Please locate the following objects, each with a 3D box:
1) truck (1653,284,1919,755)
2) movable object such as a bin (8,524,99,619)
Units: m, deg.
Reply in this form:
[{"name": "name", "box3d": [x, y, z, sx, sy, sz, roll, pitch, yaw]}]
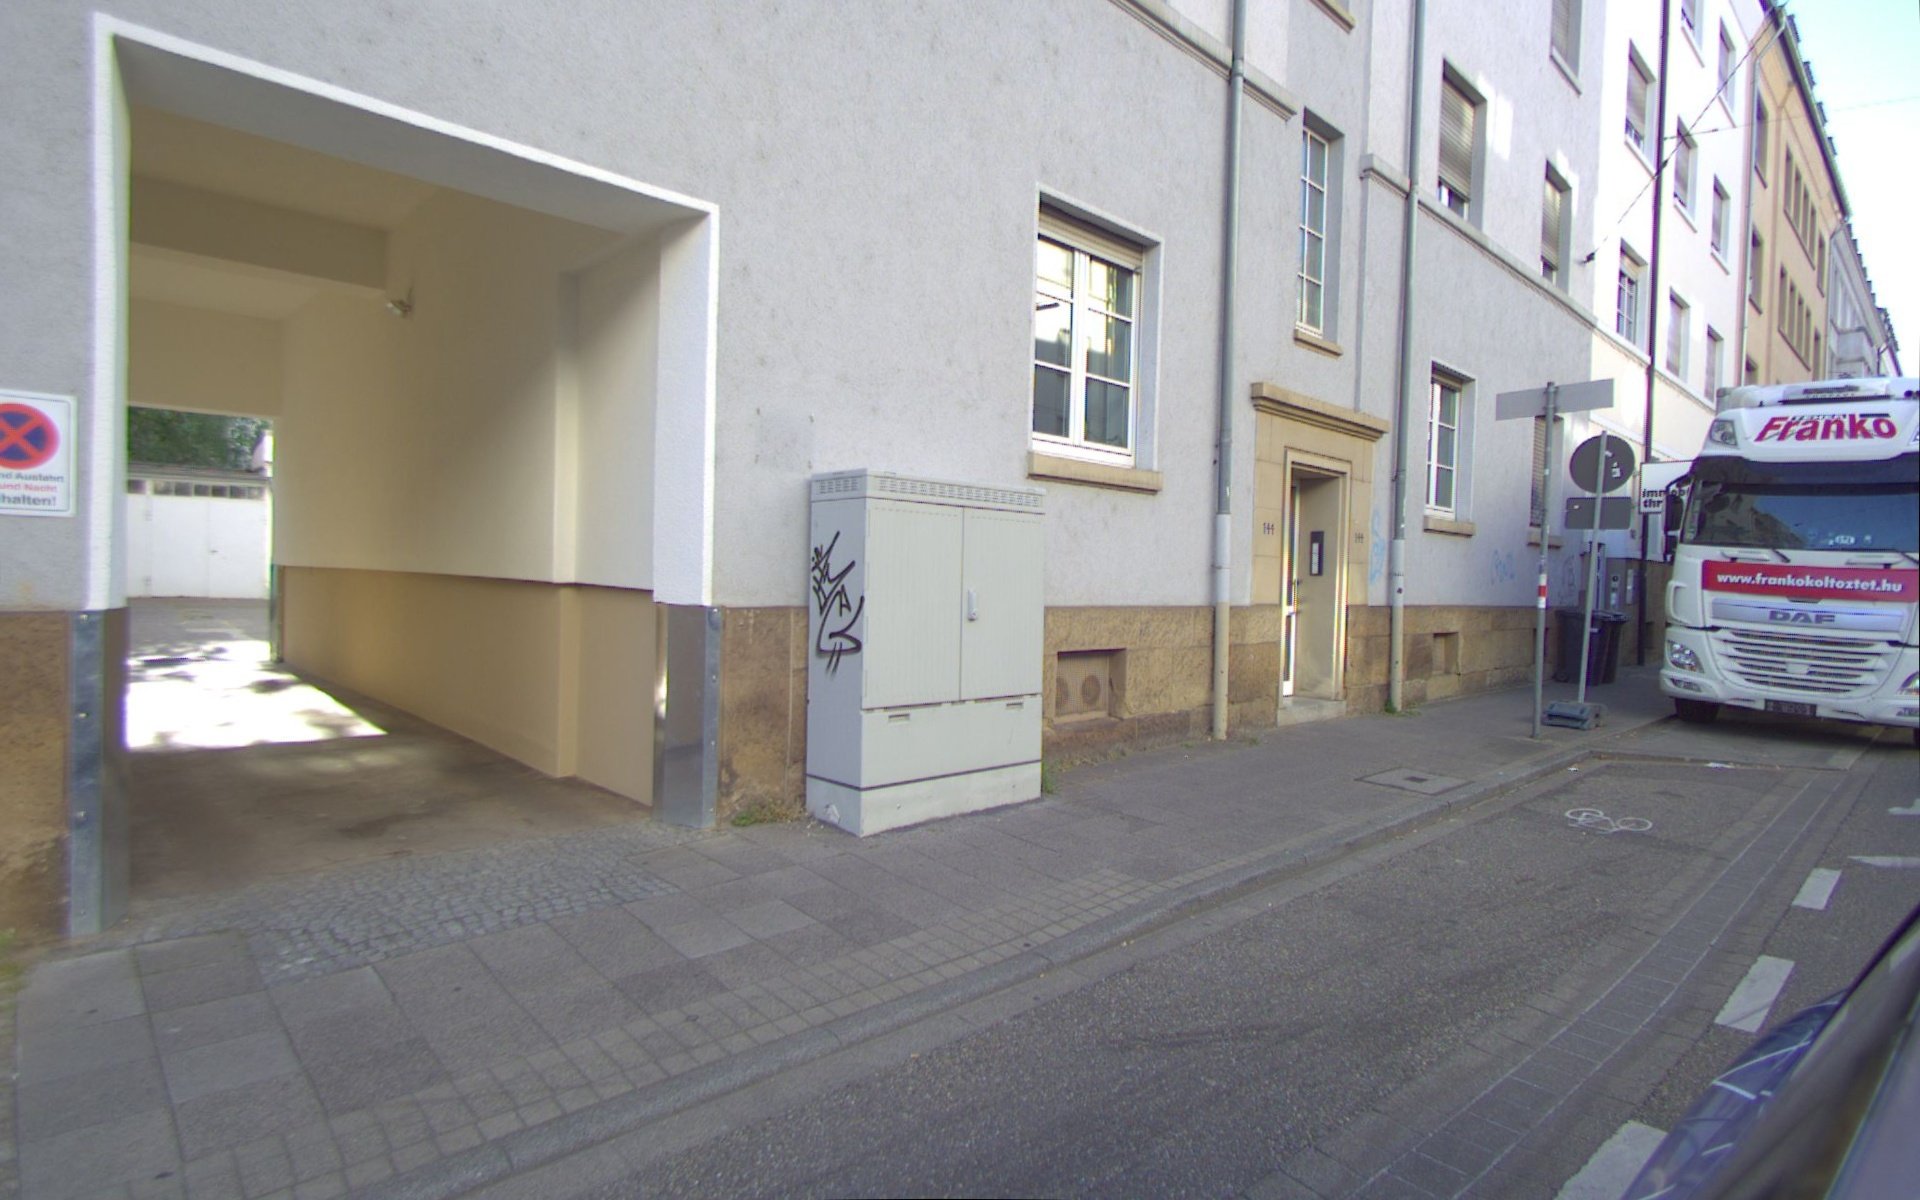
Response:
[{"name": "truck", "box3d": [12.536, -0.857, 13.657, 11.579, 4.290, 2.697, -1, 3, -43]}, {"name": "movable object such as a bin", "box3d": [-15.132, -0.461, 16.928, 1.091, 1.512, 1.328, 0, 0, -41]}]
